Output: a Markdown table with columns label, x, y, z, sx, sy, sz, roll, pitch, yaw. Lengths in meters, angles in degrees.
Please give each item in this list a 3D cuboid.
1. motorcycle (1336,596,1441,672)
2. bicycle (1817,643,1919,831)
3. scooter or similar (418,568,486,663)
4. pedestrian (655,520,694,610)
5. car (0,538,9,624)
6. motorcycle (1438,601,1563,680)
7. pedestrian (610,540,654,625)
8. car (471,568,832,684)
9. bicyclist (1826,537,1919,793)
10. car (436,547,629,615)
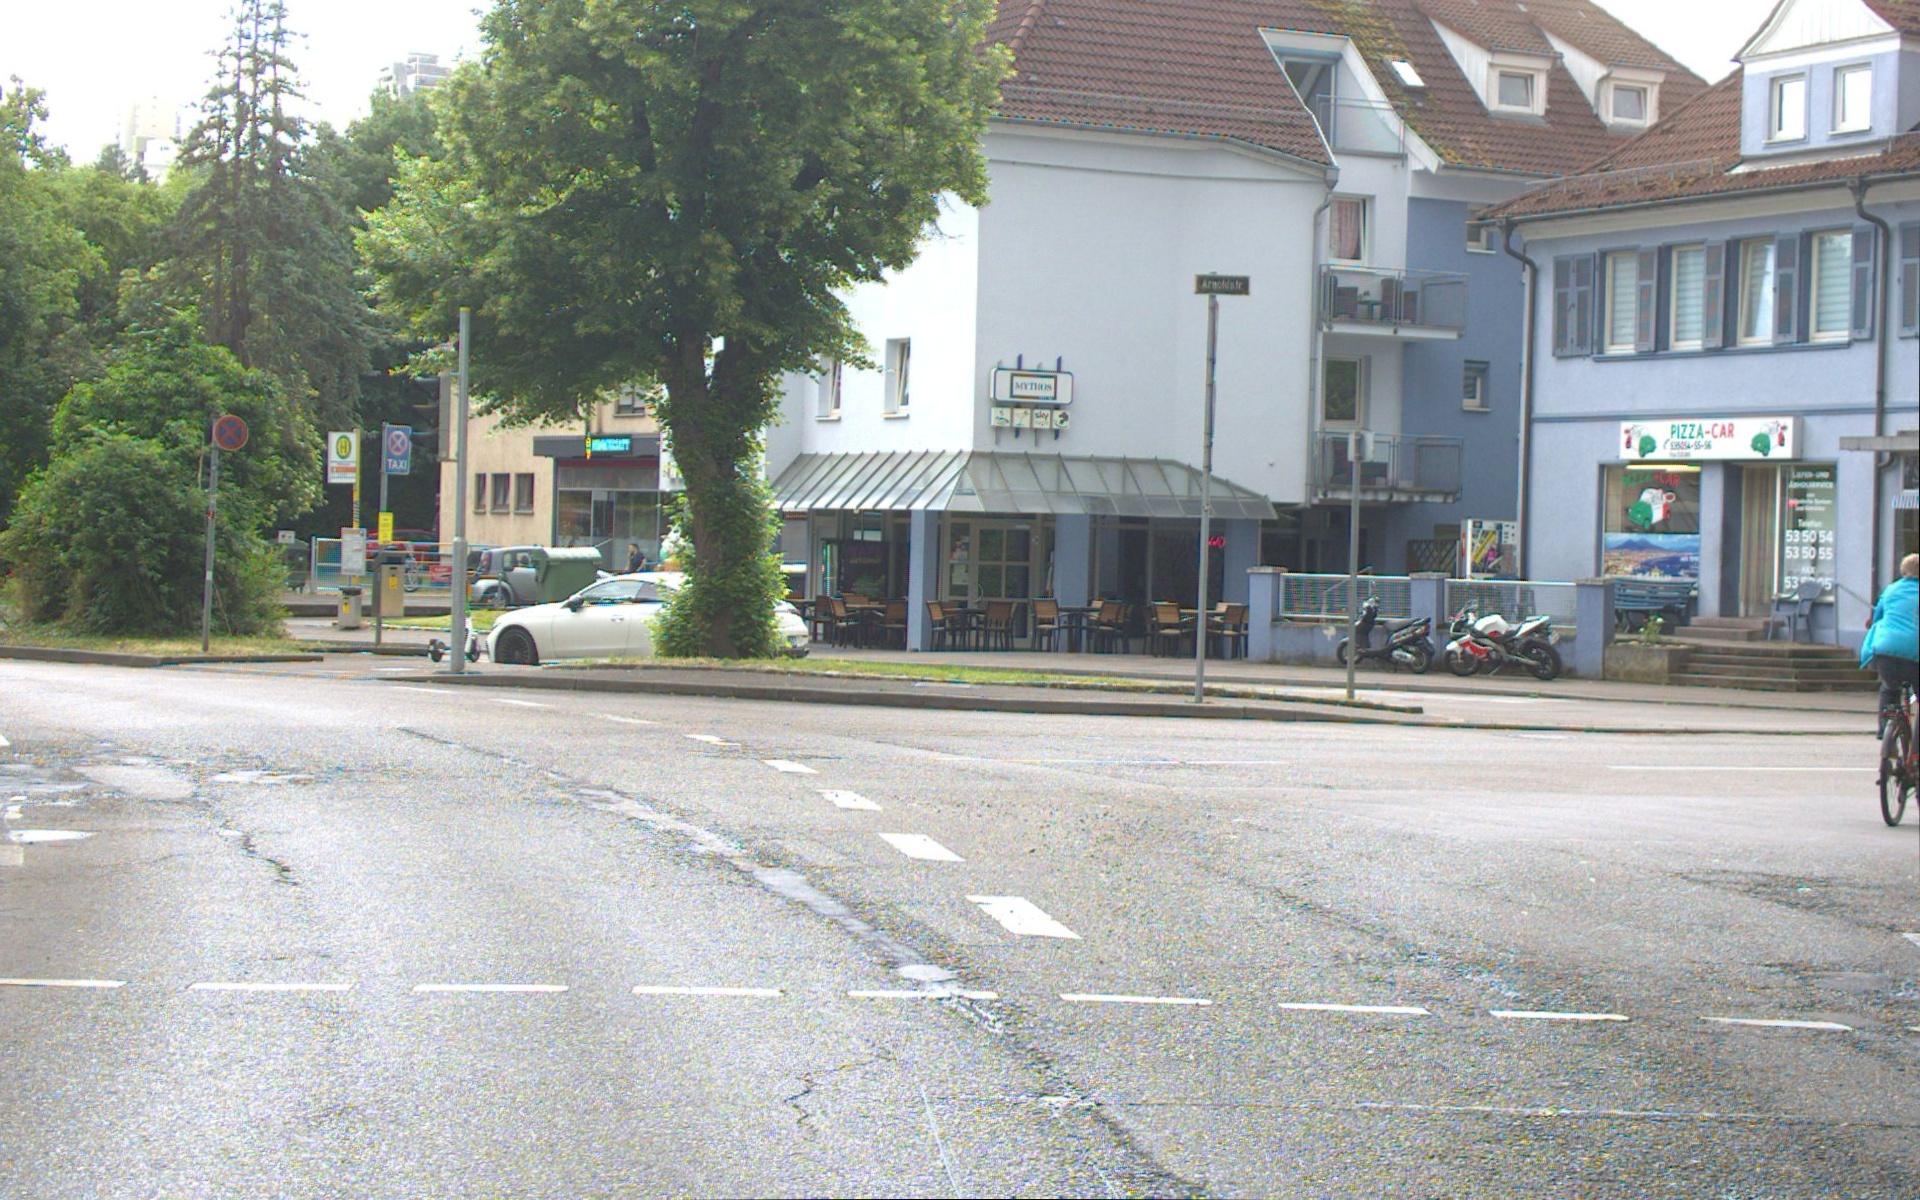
| label | x | y | z | sx | sy | sz | roll | pitch | yaw |
| --- | --- | --- | --- | --- | --- | --- | --- | --- | --- |
| motorcycle | 6.343 | 0.498 | 50.951 | 1.458 | 1.085 | 0.523 | 1 | 1 | 35 |
| bicycle | 6.292 | 0.892 | 22.904 | 0.874 | 1.145 | 1.951 | 1 | 1 | 21 |
| scooter or similar | -6.399 | 0.189 | 43.329 | 0.442 | 1.171 | 1.437 | 1 | 1 | 8 |
| pedestrian | -4.976 | -0.611 | 59.922 | 0.543 | 1.554 | 0.467 | 1 | 0 | 13 |
| car | -16.876 | -0.340 | 54.147 | 3.321 | 1.347 | 1.778 | 1 | 1 | 27 |
| motorcycle | 7.733 | 0.574 | 49.193 | 1.628 | 1.085 | 0.626 | 1 | 1 | 31 |
| pedestrian | -7.802 | -0.423 | 81.791 | 0.837 | 2.007 | 1.056 | 1 | 1 | -15 |
| car | -4.199 | 0.324 | 46.492 | 4.709 | 1.405 | 1.899 | 2 | 1 | 35 |
| bicyclist | 6.283 | 0.420 | 22.733 | 0.916 | 1.646 | 0.987 | 1 | 1 | 22 |
| car | -9.494 | -0.421 | 76.318 | 3.936 | 1.437 | 1.753 | 1 | 1 | -20 |
